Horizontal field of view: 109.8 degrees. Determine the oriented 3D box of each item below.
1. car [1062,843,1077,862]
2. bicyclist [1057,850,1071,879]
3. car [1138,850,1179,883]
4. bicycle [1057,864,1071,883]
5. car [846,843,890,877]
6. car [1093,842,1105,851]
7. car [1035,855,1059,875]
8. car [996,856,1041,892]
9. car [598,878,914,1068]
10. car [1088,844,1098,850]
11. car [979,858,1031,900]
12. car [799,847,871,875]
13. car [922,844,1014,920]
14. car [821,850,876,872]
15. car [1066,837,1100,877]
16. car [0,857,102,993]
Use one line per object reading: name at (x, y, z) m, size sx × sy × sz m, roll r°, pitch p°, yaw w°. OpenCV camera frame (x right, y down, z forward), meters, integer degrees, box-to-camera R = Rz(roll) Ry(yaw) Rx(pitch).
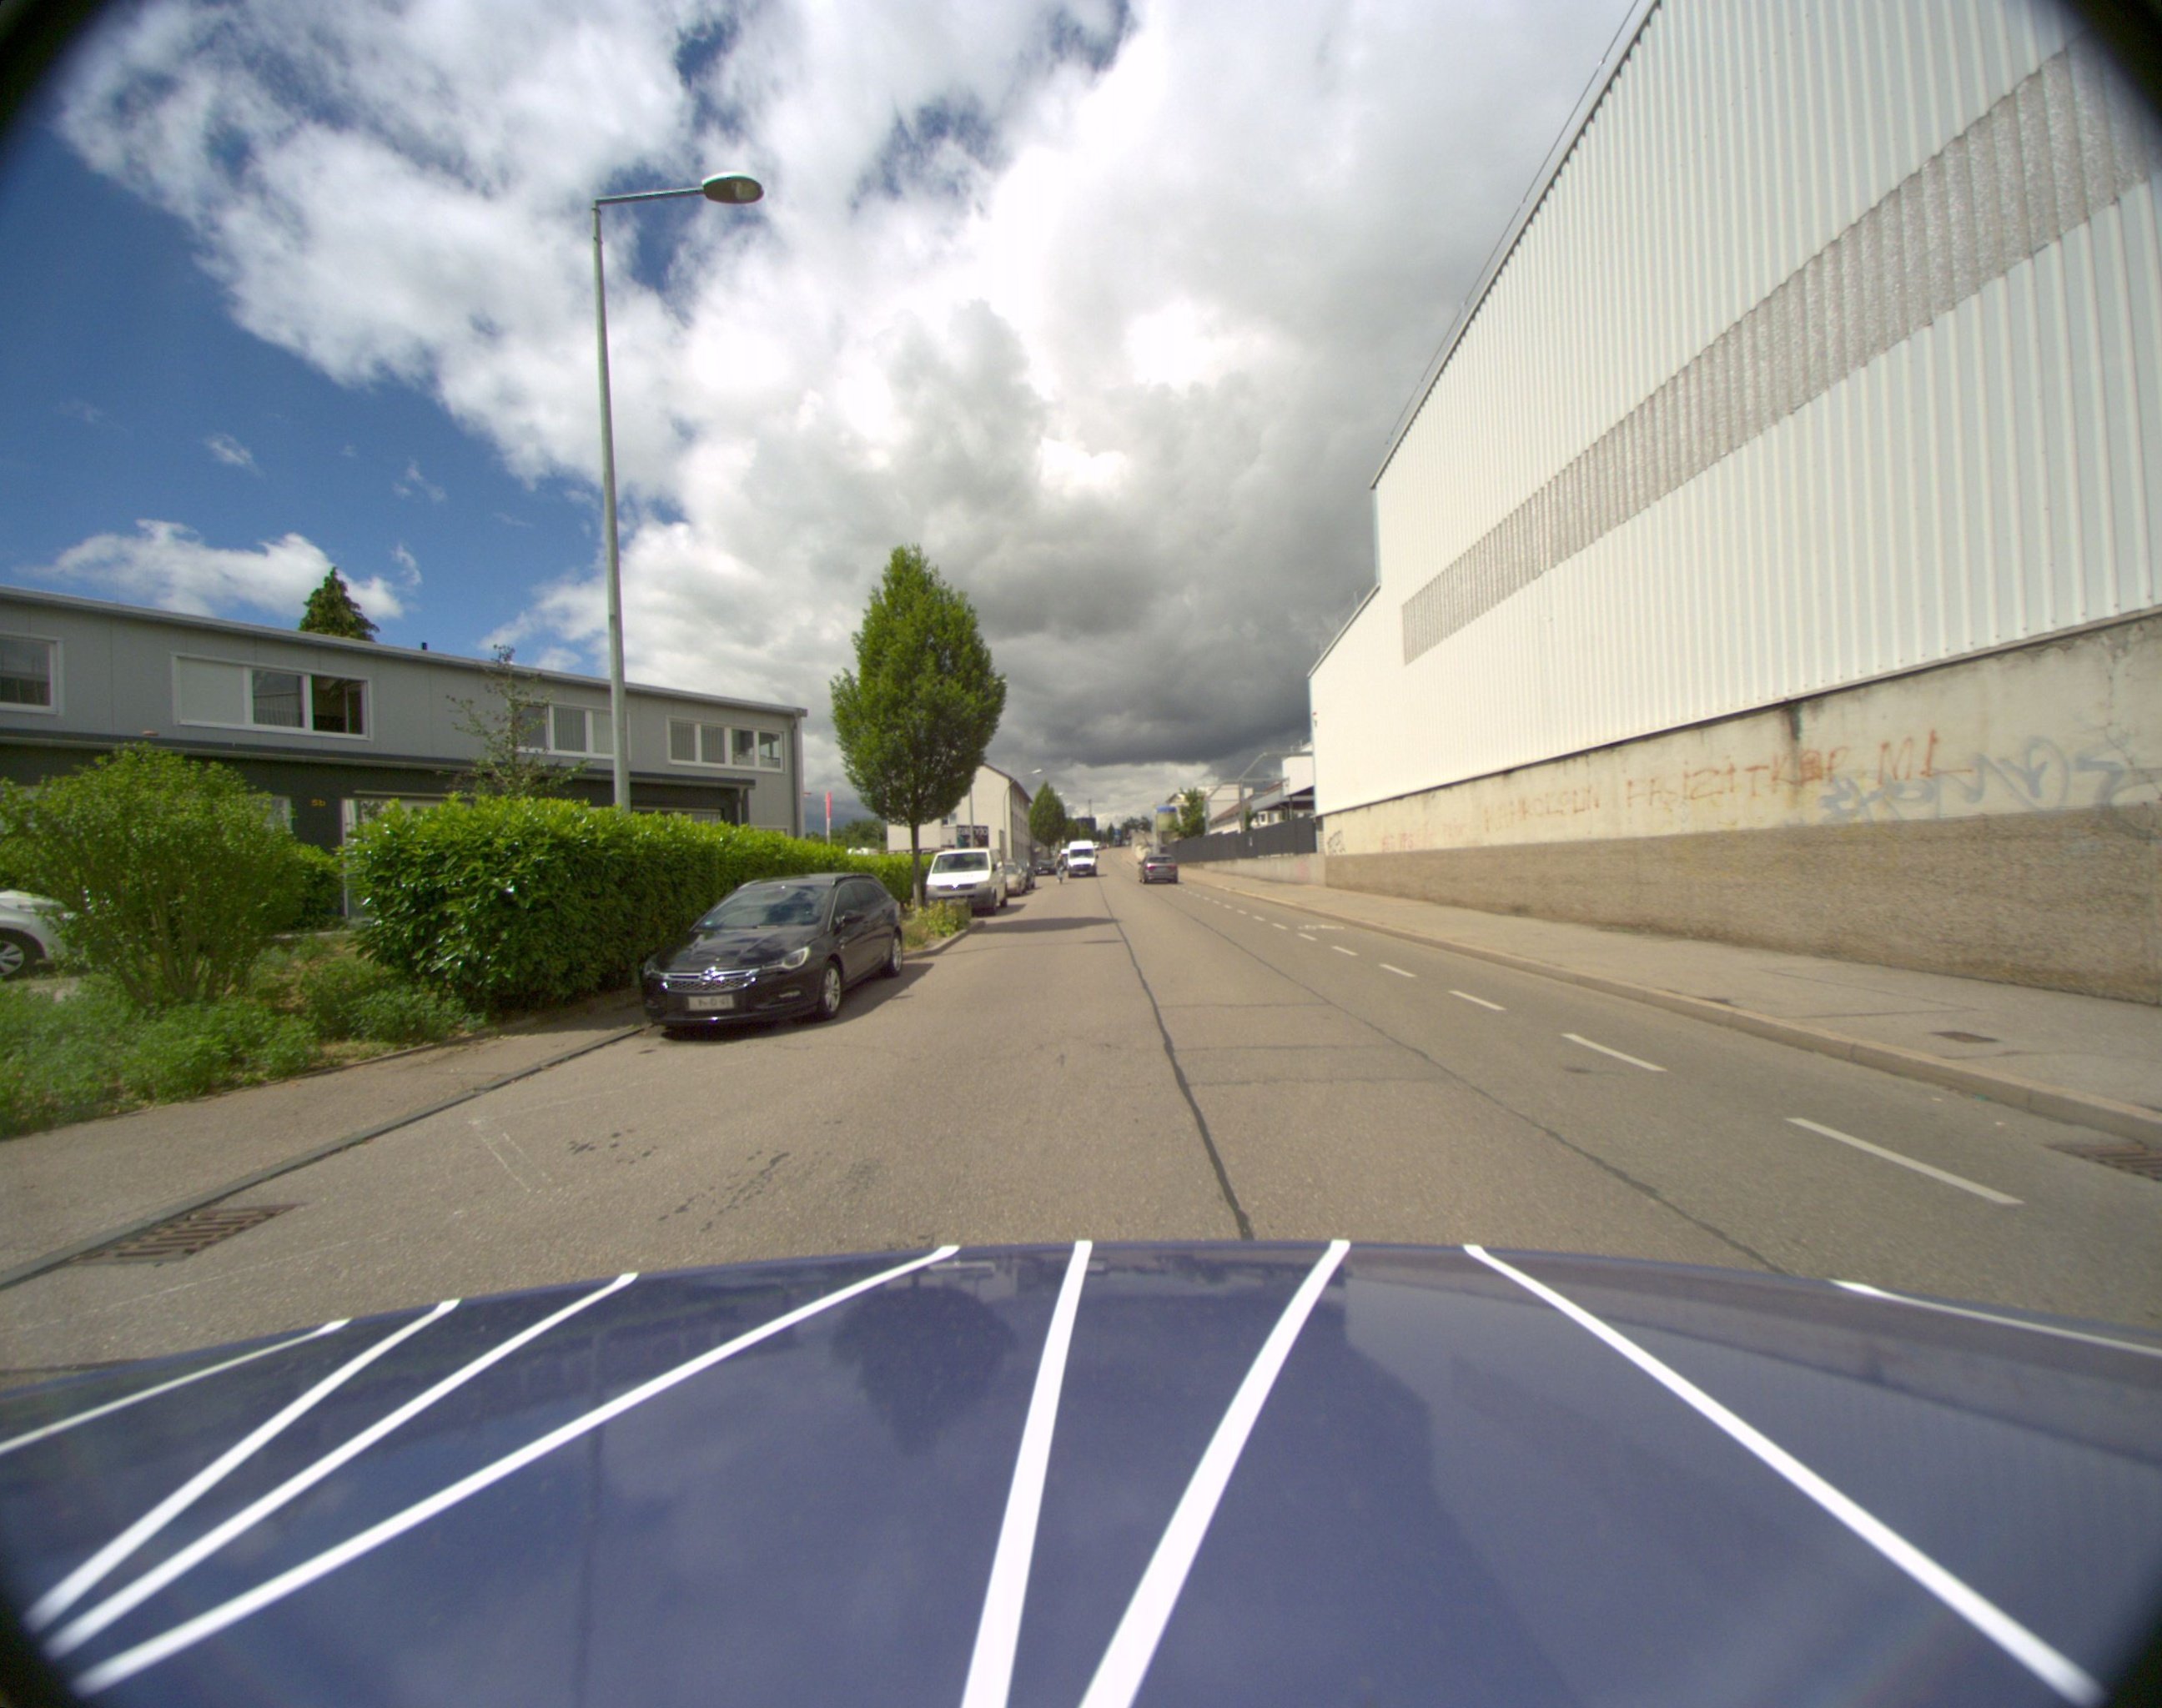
car at (-1.734, -0.229, 115.314) m, size 2.038 × 2.627 × 7.280 m, roll -2°, pitch 2°, yaw 0°
bicyclist at (-0.973, 0.585, 42.937) m, size 0.741 × 1.617 × 0.731 m, roll -2°, pitch 2°, yaw -2°
car at (4.005, 0.605, 39.779) m, size 1.723 × 1.547 × 4.287 m, roll 1°, pitch 1°, yaw 0°
bicycle at (-0.948, 1.089, 42.941) m, size 0.742 × 0.969 × 1.732 m, roll -2°, pitch 1°, yaw -1°
car at (-19.269, 0.514, 69.027) m, size 2.282 × 2.752 × 5.453 m, roll -2°, pitch 2°, yaw 0°
car at (4.603, -1.953, 195.652) m, size 1.978 × 1.993 × 5.550 m, roll -2°, pitch 2°, yaw 12°
car at (-2.834, 0.899, 64.498) m, size 1.796 × 1.457 × 4.707 m, roll -2°, pitch 1°, yaw 0°
car at (-3.073, 0.956, 38.273) m, size 1.683 × 1.628 × 4.123 m, roll -2°, pitch 0°, yaw 3°
car at (-3.404, 1.136, 9.052) m, size 1.718 × 1.465 × 4.511 m, roll -2°, pitch 0°, yaw 1°
car at (3.010, -1.650, 188.049) m, size 1.640 × 1.379 × 4.207 m, roll -2°, pitch 2°, yaw 12°
car at (-3.195, 1.006, 32.748) m, size 1.659 × 1.531 × 4.734 m, roll -2°, pitch 0°, yaw 1°
car at (-24.052, 0.683, 74.515) m, size 6.180 × 2.438 × 2.273 m, roll -2°, pitch 2°, yaw -3°
car at (-3.250, 0.739, 22.963) m, size 1.874 × 1.979 × 5.143 m, roll -2°, pitch 0°, yaw 1°
car at (-23.644, 0.704, 77.367) m, size 4.964 × 2.024 × 1.999 m, roll -2°, pitch 2°, yaw -1°
car at (0.214, 0.119, 54.898) m, size 2.082 × 2.576 × 6.061 m, roll -2°, pitch 2°, yaw 2°
car at (-12.873, 0.772, 7.789) m, size 1.578 × 1.439 × 3.427 m, roll 1°, pitch 1°, yaw 39°
